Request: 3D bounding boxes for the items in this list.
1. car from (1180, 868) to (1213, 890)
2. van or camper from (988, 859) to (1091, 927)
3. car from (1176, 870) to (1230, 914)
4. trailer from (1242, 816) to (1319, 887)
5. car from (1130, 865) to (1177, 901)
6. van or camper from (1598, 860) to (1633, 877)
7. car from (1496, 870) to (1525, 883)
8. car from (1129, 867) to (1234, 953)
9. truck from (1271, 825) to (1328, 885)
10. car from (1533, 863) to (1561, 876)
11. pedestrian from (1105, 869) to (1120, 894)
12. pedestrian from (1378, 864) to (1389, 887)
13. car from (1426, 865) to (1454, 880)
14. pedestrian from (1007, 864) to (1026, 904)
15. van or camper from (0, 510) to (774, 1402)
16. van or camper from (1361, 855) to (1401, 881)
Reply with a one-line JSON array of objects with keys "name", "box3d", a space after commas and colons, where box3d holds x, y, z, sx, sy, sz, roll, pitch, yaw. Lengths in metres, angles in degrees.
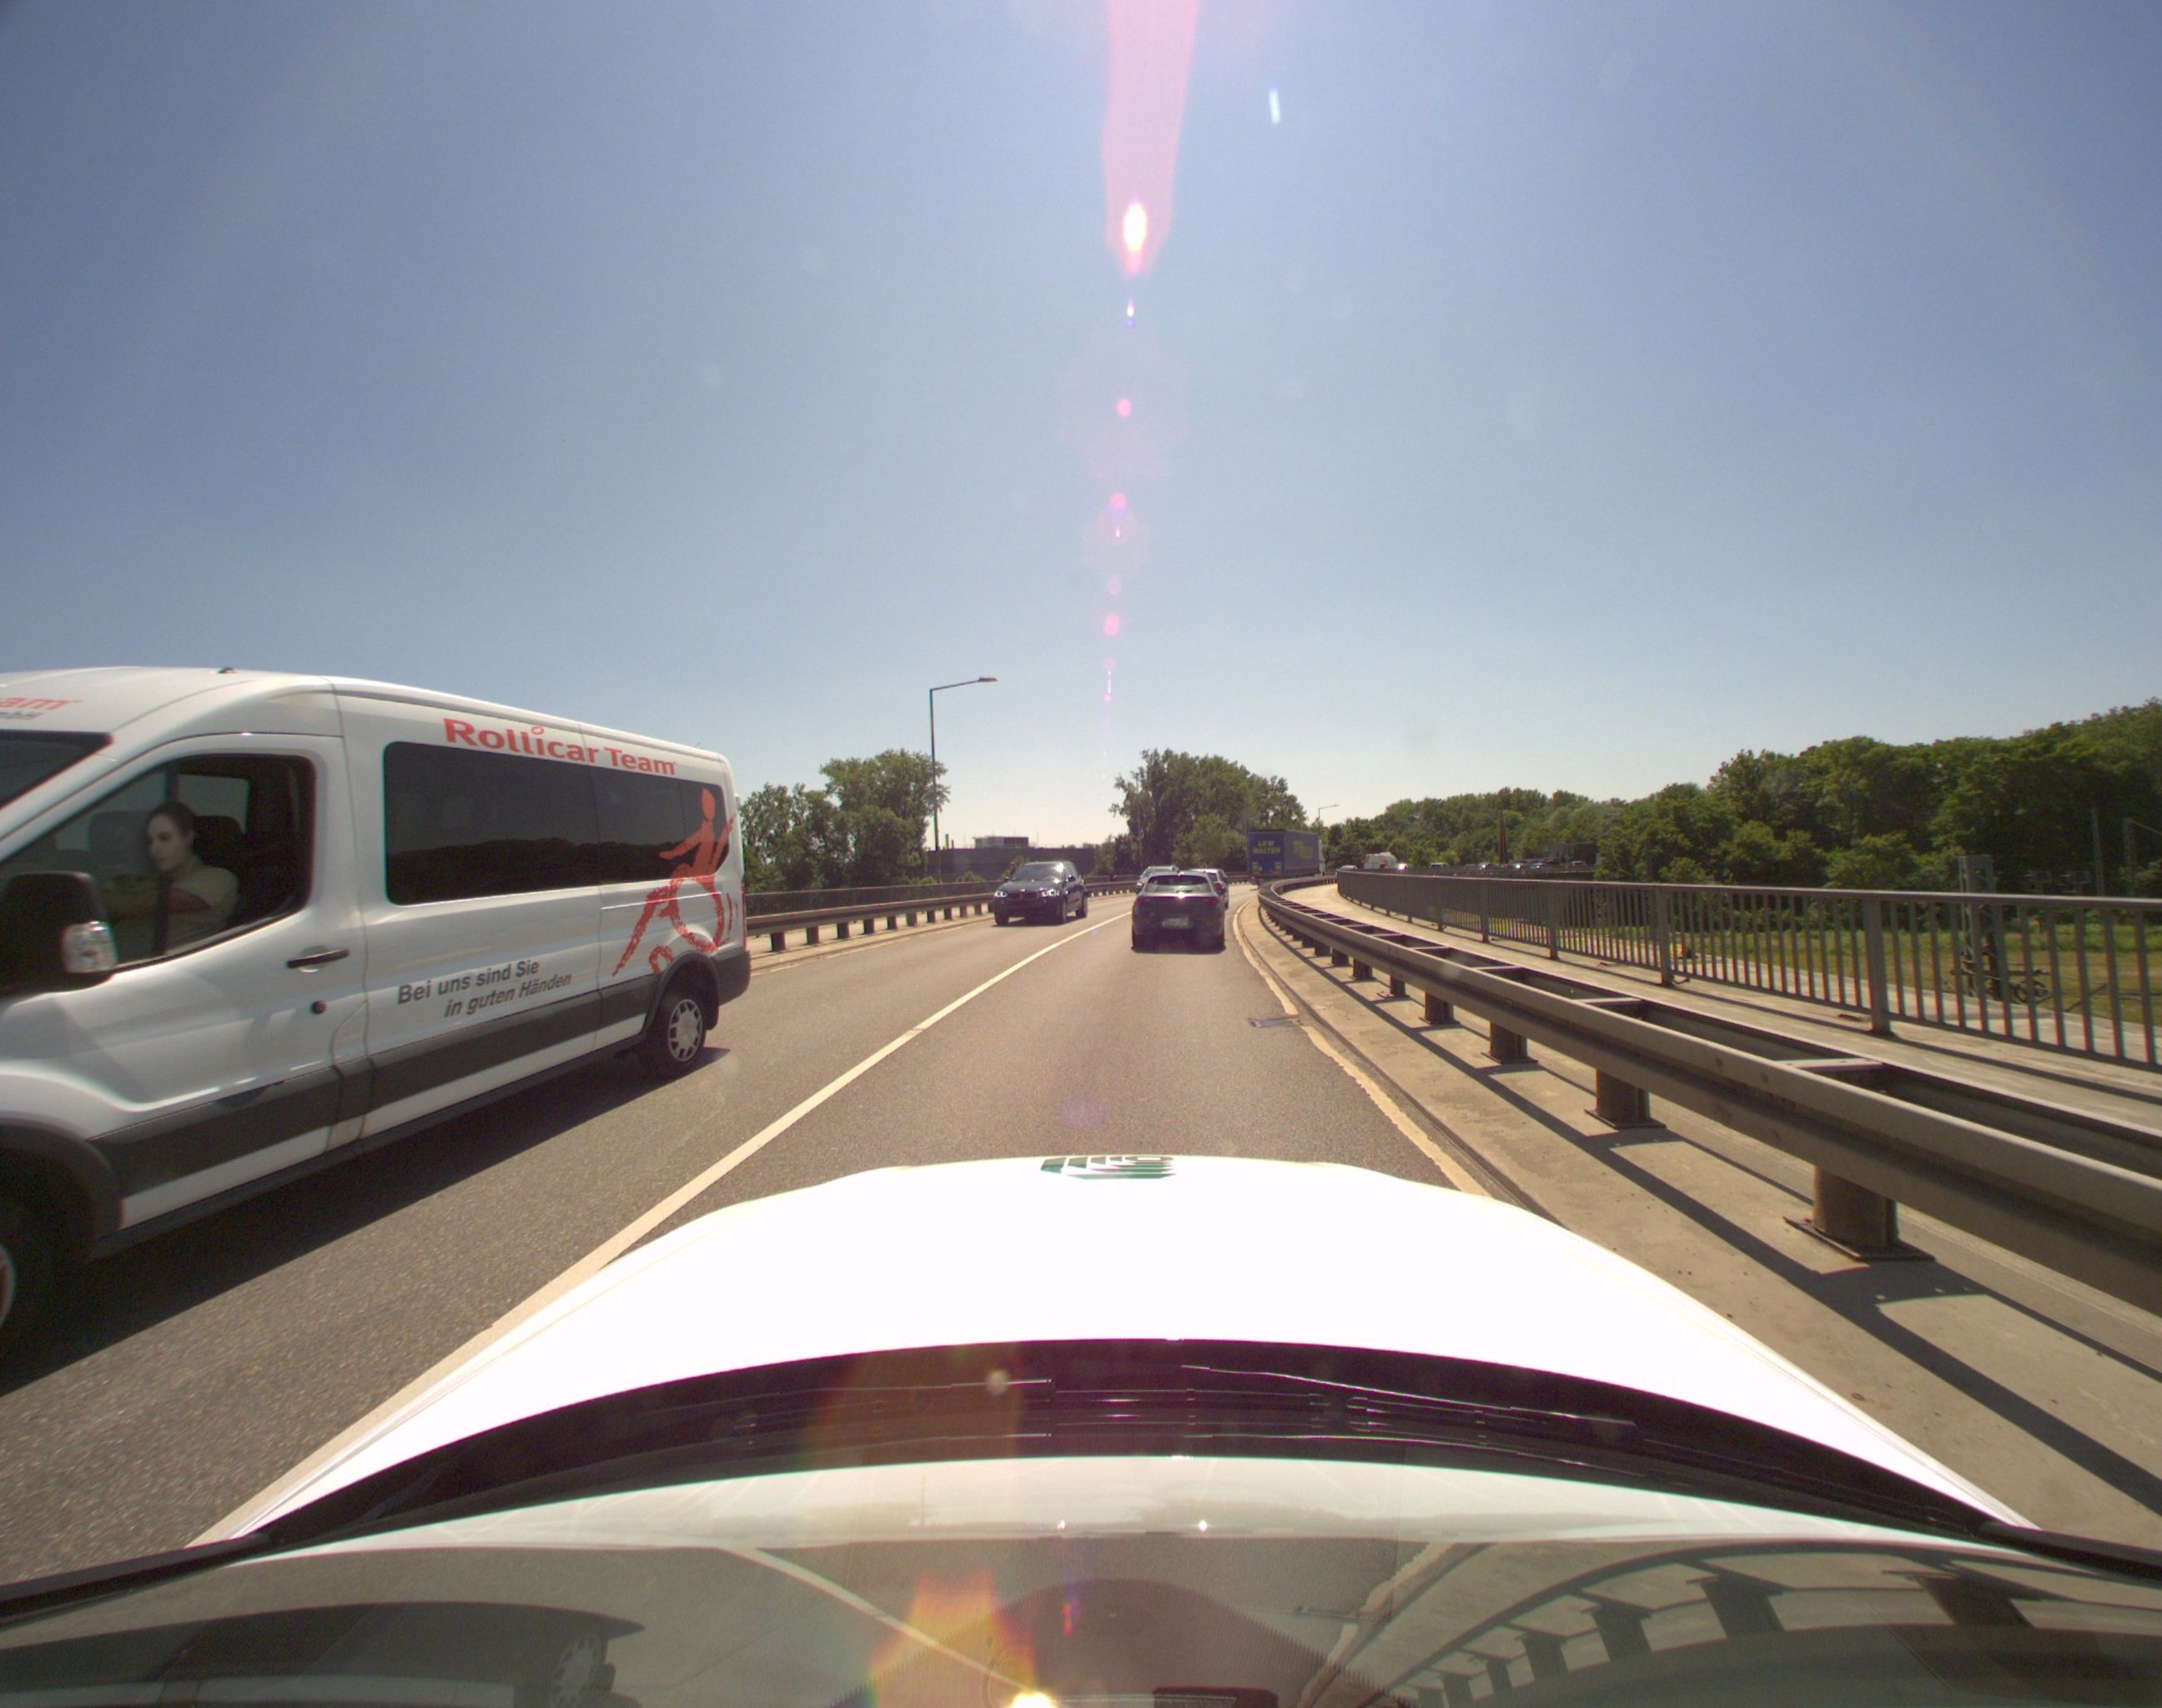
[{"name": "car", "box3d": [7.914, 1.710, 55.520, 1.776, 1.419, 3.788, -3, -2, 15]}, {"name": "van or camper", "box3d": [-1.080, 1.105, 23.923, 1.981, 1.761, 4.710, -2, -2, 10]}, {"name": "car", "box3d": [4.458, 1.327, 29.389, 1.582, 1.461, 3.557, 0, -1, 14]}, {"name": "trailer", "box3d": [14.836, 0.024, 59.512, 3.106, 4.614, 13.020, 0, -2, 25]}, {"name": "car", "box3d": [3.732, 1.479, 41.280, 1.883, 1.655, 4.271, -1, -3, 12]}, {"name": "van or camper", "box3d": [87.254, 2.400, 132.945, 4.967, 2.292, 2.473, 4, 1, -25]}, {"name": "car", "box3d": [58.634, 3.092, 111.229, 4.015, 1.850, 1.875, 1, -2, -34]}, {"name": "car", "box3d": [1.908, 1.025, 16.241, 1.837, 1.499, 3.762, 0, -1, 4]}, {"name": "truck", "box3d": [17.806, 0.202, 66.003, 3.141, 4.586, 7.438, -1, -2, 25]}, {"name": "car", "box3d": [66.978, 2.266, 117.117, 4.015, 1.850, 1.875, 1, -2, -34]}, {"name": "pedestrian", "box3d": [1.948, 1.730, 51.013, 0.708, 1.562, 0.698, -3, -3, 20]}, {"name": "pedestrian", "box3d": [26.197, 1.833, 70.563, 0.729, 1.968, 0.739, -1, -2, 33]}, {"name": "car", "box3d": [43.324, 2.243, 98.155, 1.871, 1.850, 4.024, -2, -2, 43]}, {"name": "pedestrian", "box3d": [-2.875, 1.336, 36.232, 0.634, 1.783, 0.814, 0, -2, 11]}, {"name": "van or camper", "box3d": [-3.947, 0.327, 4.280, 2.039, 2.538, 5.890, -1, -1, 4]}, {"name": "van or camper", "box3d": [31.821, 1.479, 86.269, 2.182, 2.711, 5.963, -2, -1, 39]}]
